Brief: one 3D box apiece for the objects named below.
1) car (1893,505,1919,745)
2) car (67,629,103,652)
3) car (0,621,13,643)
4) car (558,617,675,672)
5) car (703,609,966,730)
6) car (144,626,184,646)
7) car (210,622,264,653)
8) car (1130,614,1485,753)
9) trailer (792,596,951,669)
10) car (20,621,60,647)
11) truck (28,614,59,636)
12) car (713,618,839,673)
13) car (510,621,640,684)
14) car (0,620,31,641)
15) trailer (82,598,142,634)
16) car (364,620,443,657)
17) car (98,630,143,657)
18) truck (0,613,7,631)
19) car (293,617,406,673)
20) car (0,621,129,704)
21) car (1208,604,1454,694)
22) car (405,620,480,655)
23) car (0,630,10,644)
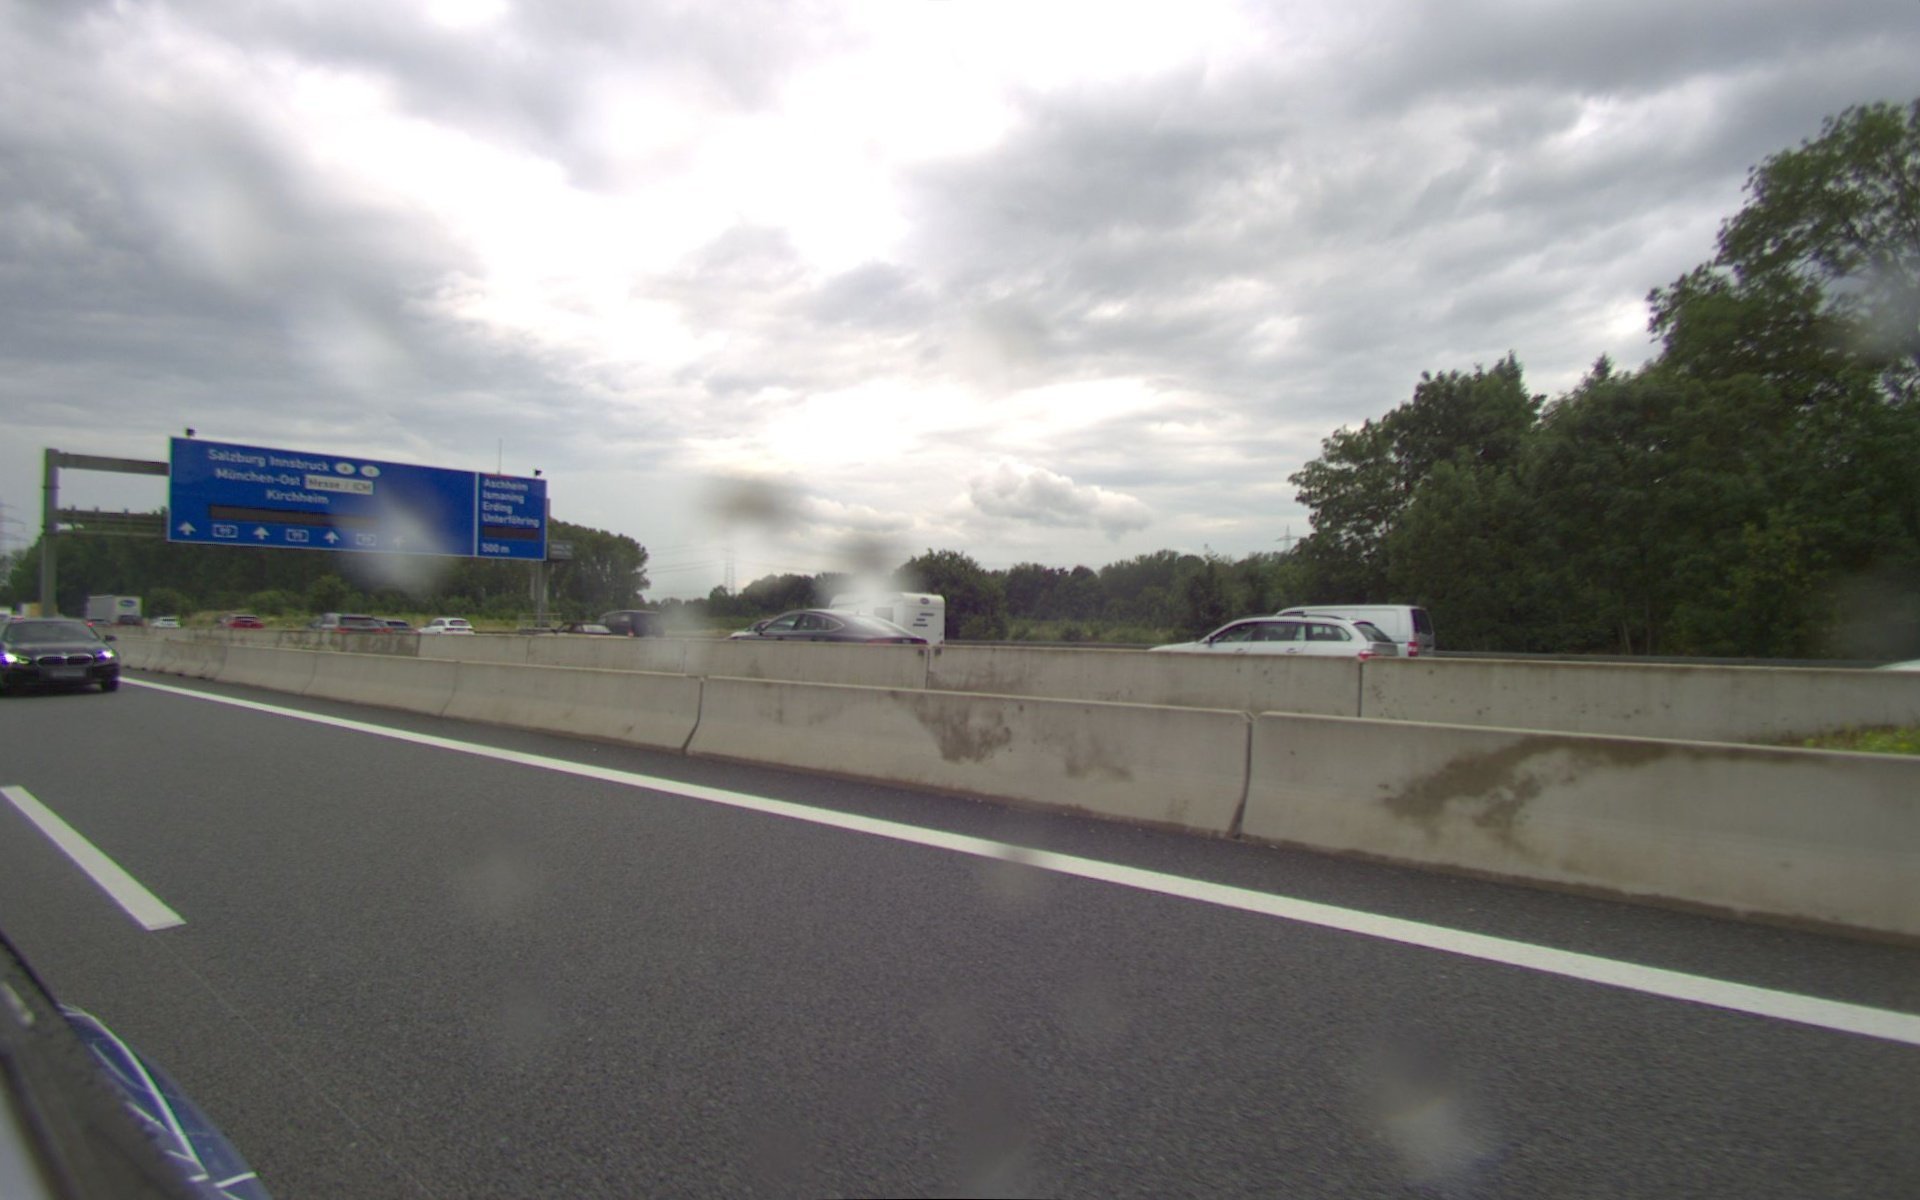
[{"bbox_3d":[11.356,0.186,8.336,5.286,2.198,1.973,-1,-1,41],"label":"car"},{"bbox_3d":[-78.488,3.613,90.768,3.998,2.029,1.863,-1,-1,41],"label":"car"},{"bbox_3d":[-147.406,4.896,155.009,6.555,3.302,2.634,-1,-1,39],"label":"car"},{"bbox_3d":[-13.517,1.694,39.655,5.222,1.967,1.973,-1,-1,41],"label":"car"},{"bbox_3d":[-2.501,1.193,19.102,5.222,1.967,1.973,-1,-1,41],"label":"car"},{"bbox_3d":[-82.966,3.746,105.487,4.826,1.967,2.405,-1,-1,41],"label":"car"},{"bbox_3d":[-43.479,2.215,60.817,4.334,1.758,1.661,-1,-1,41],"label":"car"},{"bbox_3d":[5.990,1.322,18.009,5.645,2.098,1.973,-1,-1,41],"label":"car"},{"bbox_3d":[-3.218,1.107,35.724,5.781,2.393,2.219,-1,-1,41],"label":"trailer"},{"bbox_3d":[-77.001,2.827,84.668,4.757,2.029,1.973,-1,-1,41],"label":"car"},{"bbox_3d":[-156.558,4.250,172.908,9.575,3.640,2.848,-1,-1,41],"label":"truck"},{"bbox_3d":[-7.185,1.723,39.182,5.222,1.967,1.973,-1,-1,41],"label":"car"},{"bbox_3d":[-13.219,1.729,34.578,5.222,1.967,1.973,-1,-1,41],"label":"car"},{"bbox_3d":[-88.150,2.833,94.251,4.359,1.906,1.973,-1,-1,41],"label":"car"},{"bbox_3d":[-100.103,1.896,119.368,13.798,4.059,3.206,-1,-1,40],"label":"trailer"},{"bbox_3d":[-30.964,2.099,56.287,5.222,1.967,2.219,-1,-1,41],"label":"car"},{"bbox_3d":[-66.862,3.399,80.575,4.757,2.029,1.973,-1,-1,41],"label":"car"},{"bbox_3d":[-175.435,4.042,183.517,9.194,3.315,2.880,-1,-1,40],"label":"truck"},{"bbox_3d":[-23.326,1.655,38.603,5.222,1.967,2.219,-1,-1,41],"label":"car"},{"bbox_3d":[-17.609,1.135,19.473,3.998,1.426,1.898,-2,-2,41],"label":"car"},{"bbox_3d":[8.878,1.116,24.536,5.222,1.967,1.973,-1,-1,41],"label":"car"},{"bbox_3d":[-30.874,2.224,60.302,5.222,1.967,2.219,-1,-1,41],"label":"car"},{"bbox_3d":[-126.859,4.863,133.375,4.695,1.728,1.973,-1,-1,40],"label":"car"}]
